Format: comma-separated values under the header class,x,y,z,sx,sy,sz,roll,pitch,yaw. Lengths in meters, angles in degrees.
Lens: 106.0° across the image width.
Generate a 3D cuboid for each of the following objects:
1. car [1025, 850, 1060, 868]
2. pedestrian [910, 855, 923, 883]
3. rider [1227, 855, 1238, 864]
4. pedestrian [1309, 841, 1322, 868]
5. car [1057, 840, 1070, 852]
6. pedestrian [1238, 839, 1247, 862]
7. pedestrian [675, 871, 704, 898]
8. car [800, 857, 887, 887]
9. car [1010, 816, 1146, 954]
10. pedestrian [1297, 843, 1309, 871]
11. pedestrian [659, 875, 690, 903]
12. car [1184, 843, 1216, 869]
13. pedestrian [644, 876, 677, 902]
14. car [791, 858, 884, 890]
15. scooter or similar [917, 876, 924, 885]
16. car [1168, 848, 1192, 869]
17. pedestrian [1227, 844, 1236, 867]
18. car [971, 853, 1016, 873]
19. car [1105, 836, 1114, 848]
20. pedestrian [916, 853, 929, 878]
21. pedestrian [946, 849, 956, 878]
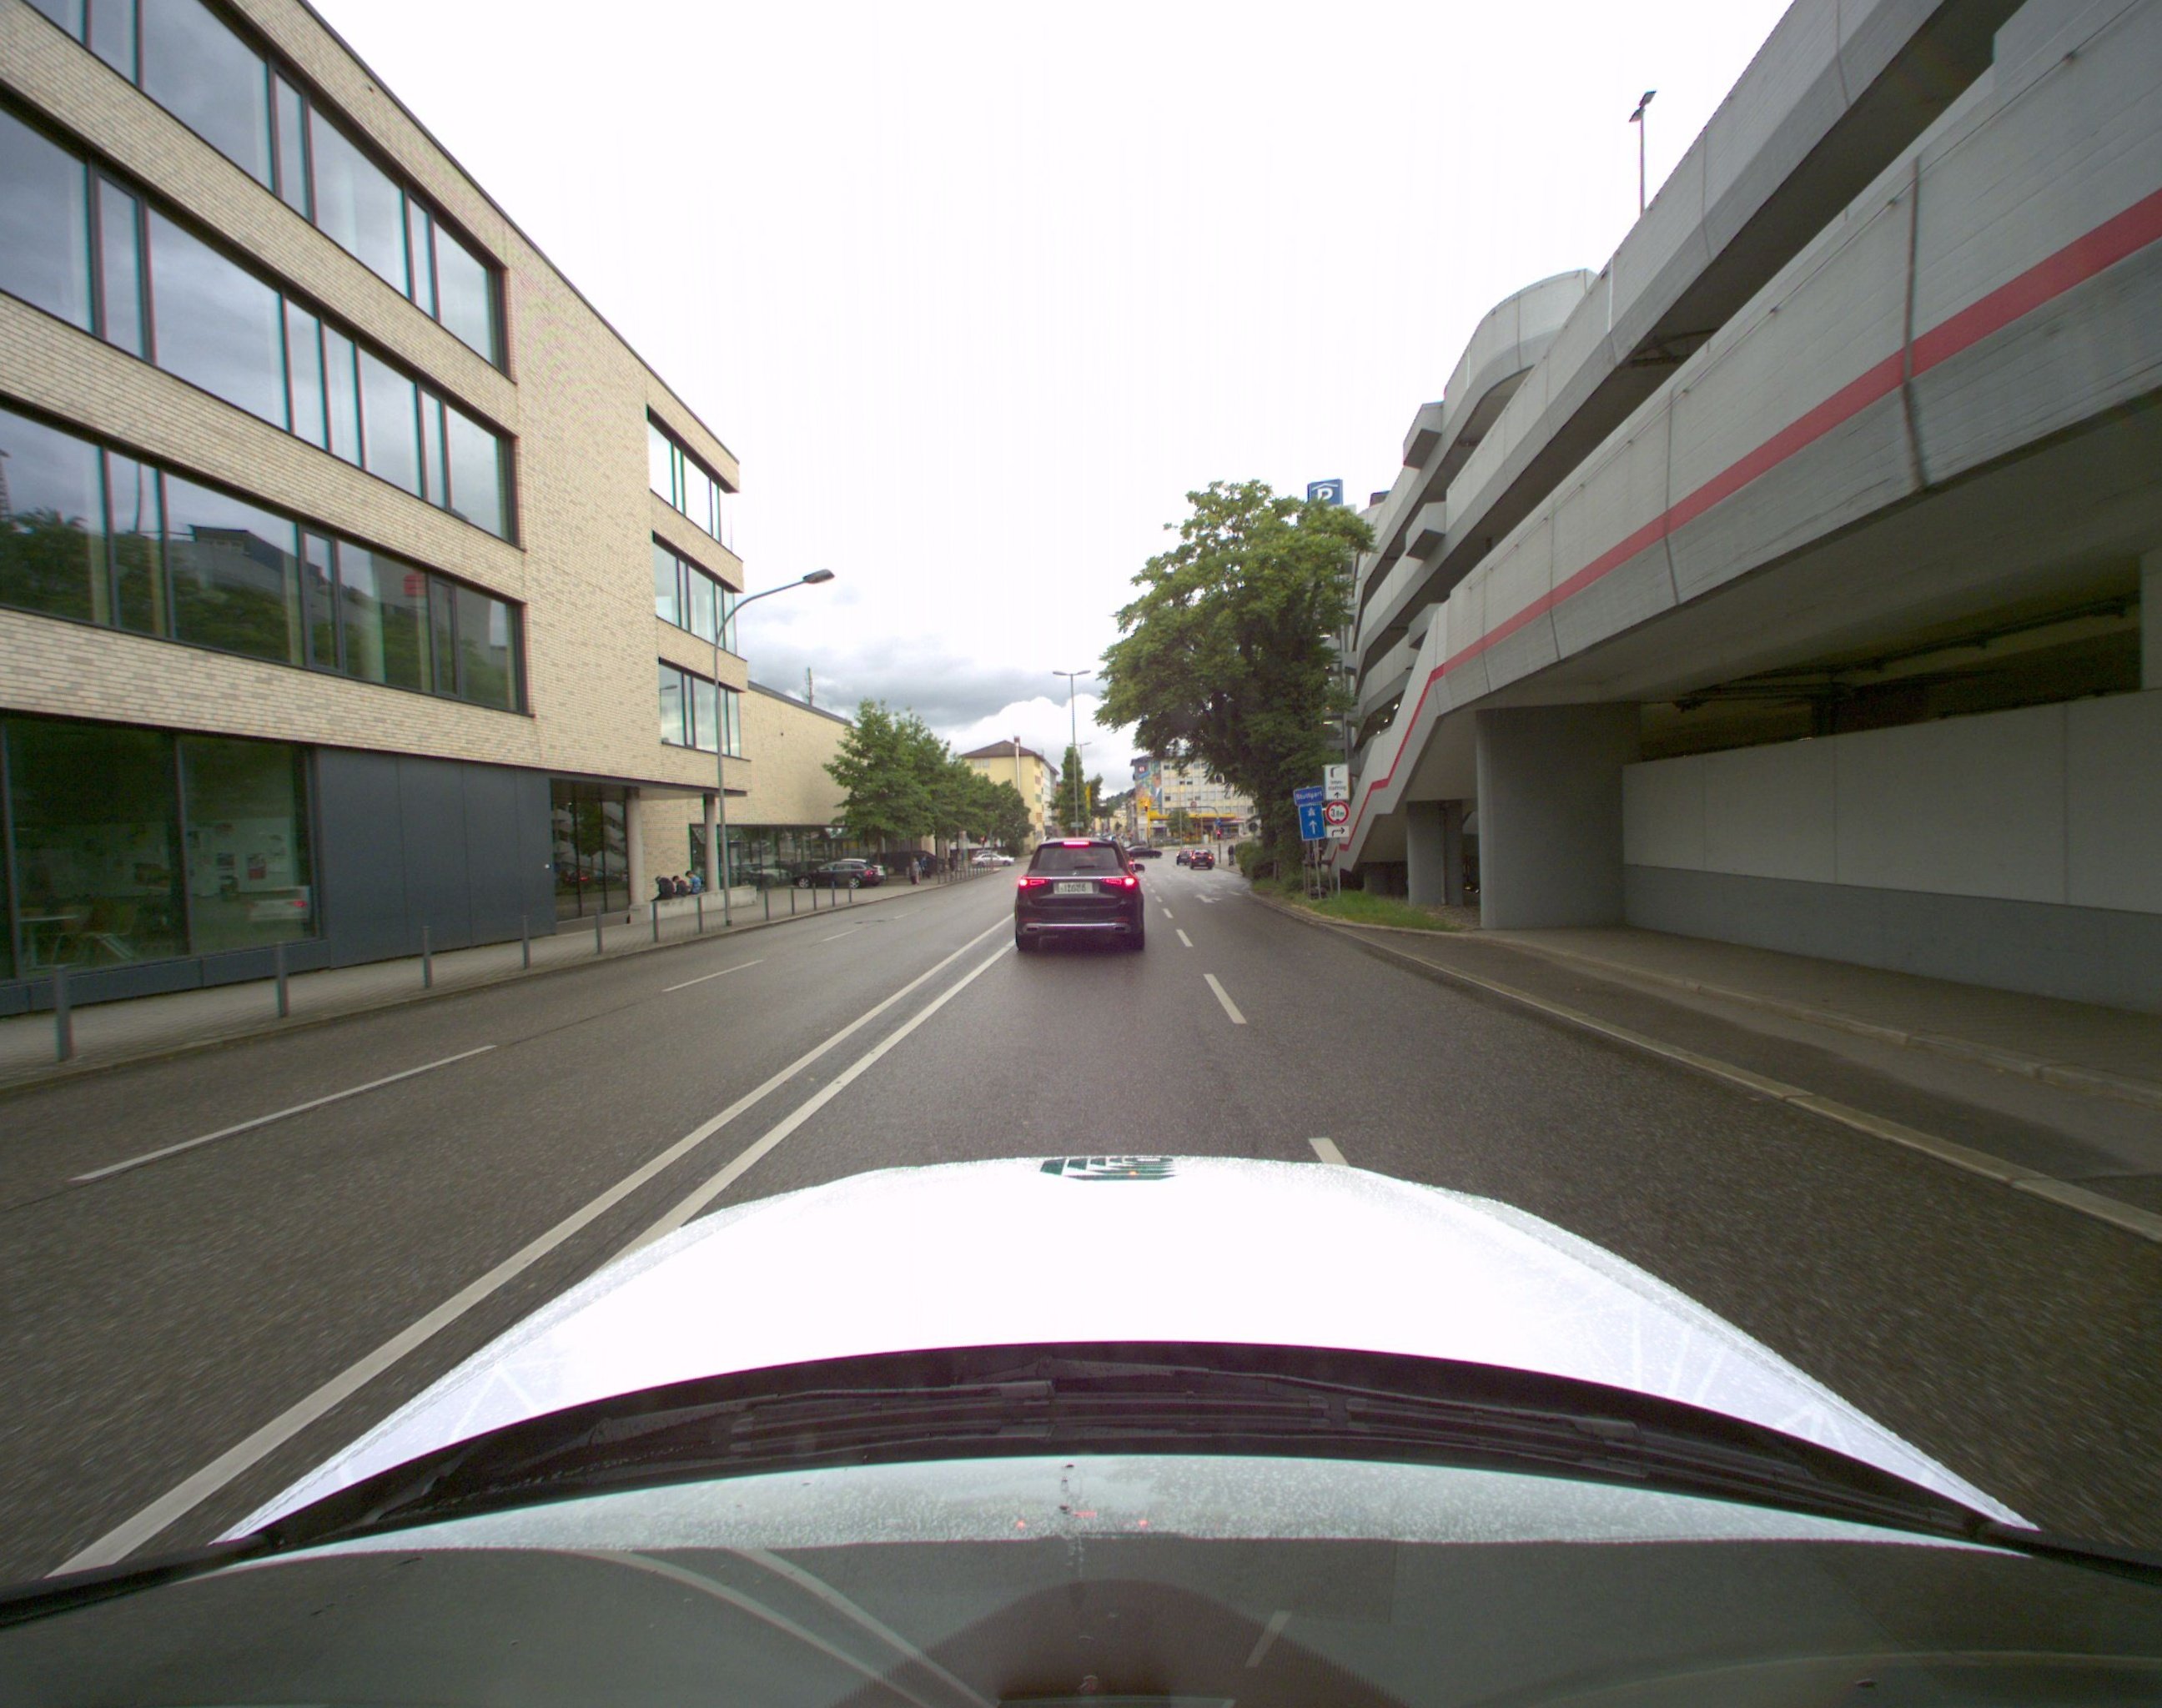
class,x,y,z,sx,sy,sz,roll,pitch,yaw
car,-4.682,0.594,98.331,3.987,1.942,1.993,-2,0,-10
pedestrian,-10.034,0.933,49.724,0.673,1.697,0.479,0,0,2
rider,12.897,0.500,69.272,0.624,0.740,0.700,-1,-1,43
pedestrian,12.686,0.028,44.033,0.578,1.501,0.505,0,-1,8
car,-2.865,-1.235,133.684,1.986,1.875,5.142,0,-1,1
pedestrian,13.310,-0.281,67.016,0.618,1.935,0.610,0,-1,1
pedestrian,-12.835,0.990,26.735,0.678,0.886,0.524,0,-1,2
car,-13.572,0.997,46.830,4.406,1.573,1.998,0,1,-3
car,0.014,0.469,13.896,1.986,2.014,4.001,0,-1,1
pedestrian,12.030,0.158,44.119,0.548,1.532,0.489,0,-1,9
pedestrian,-12.875,1.103,25.830,0.584,0.845,0.728,-1,-1,2
car,9.571,0.128,65.743,1.986,2.013,4.001,-1,0,1
pedestrian,-12.918,1.073,25.030,0.595,0.786,0.761,0,-1,2
car,-13.168,1.071,44.227,4.459,1.587,1.997,-1,0,-4
scooter or similar,-9.863,1.639,50.119,0.279,0.501,0.616,0,-1,3
car,9.379,0.446,77.574,1.985,2.014,4.003,0,-1,3
pedestrian,12.890,0.115,69.900,0.657,1.917,0.732,0,-1,16
car,-9.659,0.997,89.839,4.797,2.013,1.997,-2,0,-5
car,6.068,-2.558,172.722,1.986,2.011,4.007,0,11,1
pedestrian,-11.106,0.826,57.099,0.686,1.726,0.754,0,-2,1
pedestrian,-9.277,0.670,58.024,0.586,2.014,0.749,0,-1,1
